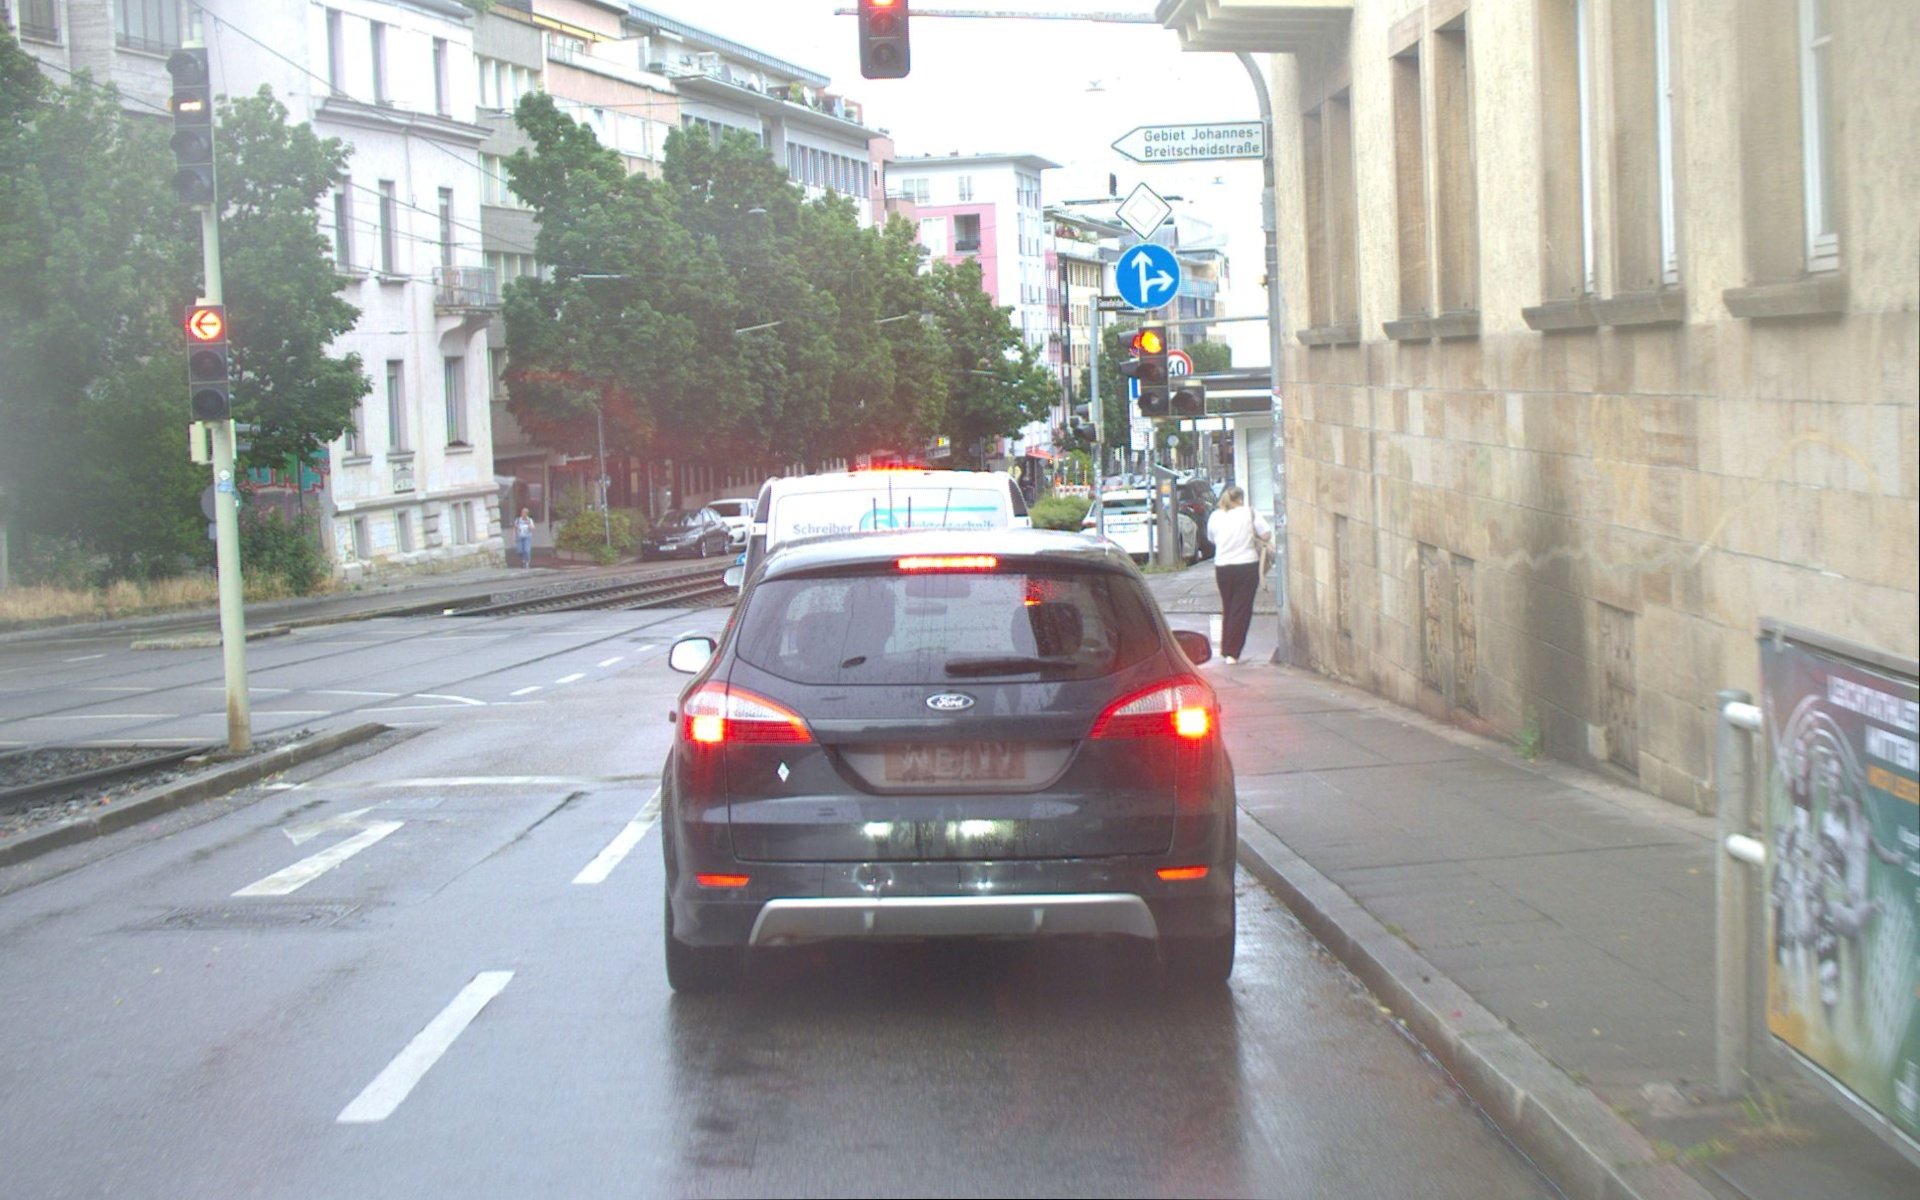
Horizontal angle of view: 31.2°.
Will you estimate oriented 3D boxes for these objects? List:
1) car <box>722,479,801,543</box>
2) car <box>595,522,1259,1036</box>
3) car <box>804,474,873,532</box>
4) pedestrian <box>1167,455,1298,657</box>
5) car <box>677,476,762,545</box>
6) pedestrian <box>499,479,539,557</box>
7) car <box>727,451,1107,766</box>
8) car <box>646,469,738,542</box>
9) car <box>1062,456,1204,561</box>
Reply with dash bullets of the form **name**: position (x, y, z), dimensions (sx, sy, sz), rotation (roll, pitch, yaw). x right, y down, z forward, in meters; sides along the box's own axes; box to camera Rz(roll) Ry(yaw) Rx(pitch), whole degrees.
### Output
- **car**: position (-6.442, -2.903, 111.744), dimensions (1.994, 2.006, 4.000), rotation (-1, 2, 4)
- **car**: position (0.001, 0.471, 11.943), dimensions (1.920, 1.474, 4.000), rotation (0, 1, 3)
- **car**: position (-4.335, -3.476, 123.090), dimensions (1.994, 2.006, 4.000), rotation (-1, 2, 4)
- **pedestrian**: position (2.476, -0.405, 31.315), dimensions (1.045, 1.789, 0.902), rotation (-1, 1, -2)
- **car**: position (-7.346, -2.752, 105.325), dimensions (1.994, 2.007, 4.000), rotation (-2, 1, 4)
- **pedestrian**: position (-11.584, -2.161, 90.277), dimensions (0.941, 2.006, 0.765), rotation (-2, 1, -10)
- **car**: position (-0.282, -0.023, 22.025), dimensions (2.137, 1.739, 4.219), rotation (-2, 2, -1)
- **car**: position (-7.708, -2.727, 99.116), dimensions (1.994, 2.006, 4.000), rotation (-1, 2, 4)
- **car**: position (3.135, -1.649, 61.405), dimensions (1.994, 1.766, 3.999), rotation (-1, 2, 10)
